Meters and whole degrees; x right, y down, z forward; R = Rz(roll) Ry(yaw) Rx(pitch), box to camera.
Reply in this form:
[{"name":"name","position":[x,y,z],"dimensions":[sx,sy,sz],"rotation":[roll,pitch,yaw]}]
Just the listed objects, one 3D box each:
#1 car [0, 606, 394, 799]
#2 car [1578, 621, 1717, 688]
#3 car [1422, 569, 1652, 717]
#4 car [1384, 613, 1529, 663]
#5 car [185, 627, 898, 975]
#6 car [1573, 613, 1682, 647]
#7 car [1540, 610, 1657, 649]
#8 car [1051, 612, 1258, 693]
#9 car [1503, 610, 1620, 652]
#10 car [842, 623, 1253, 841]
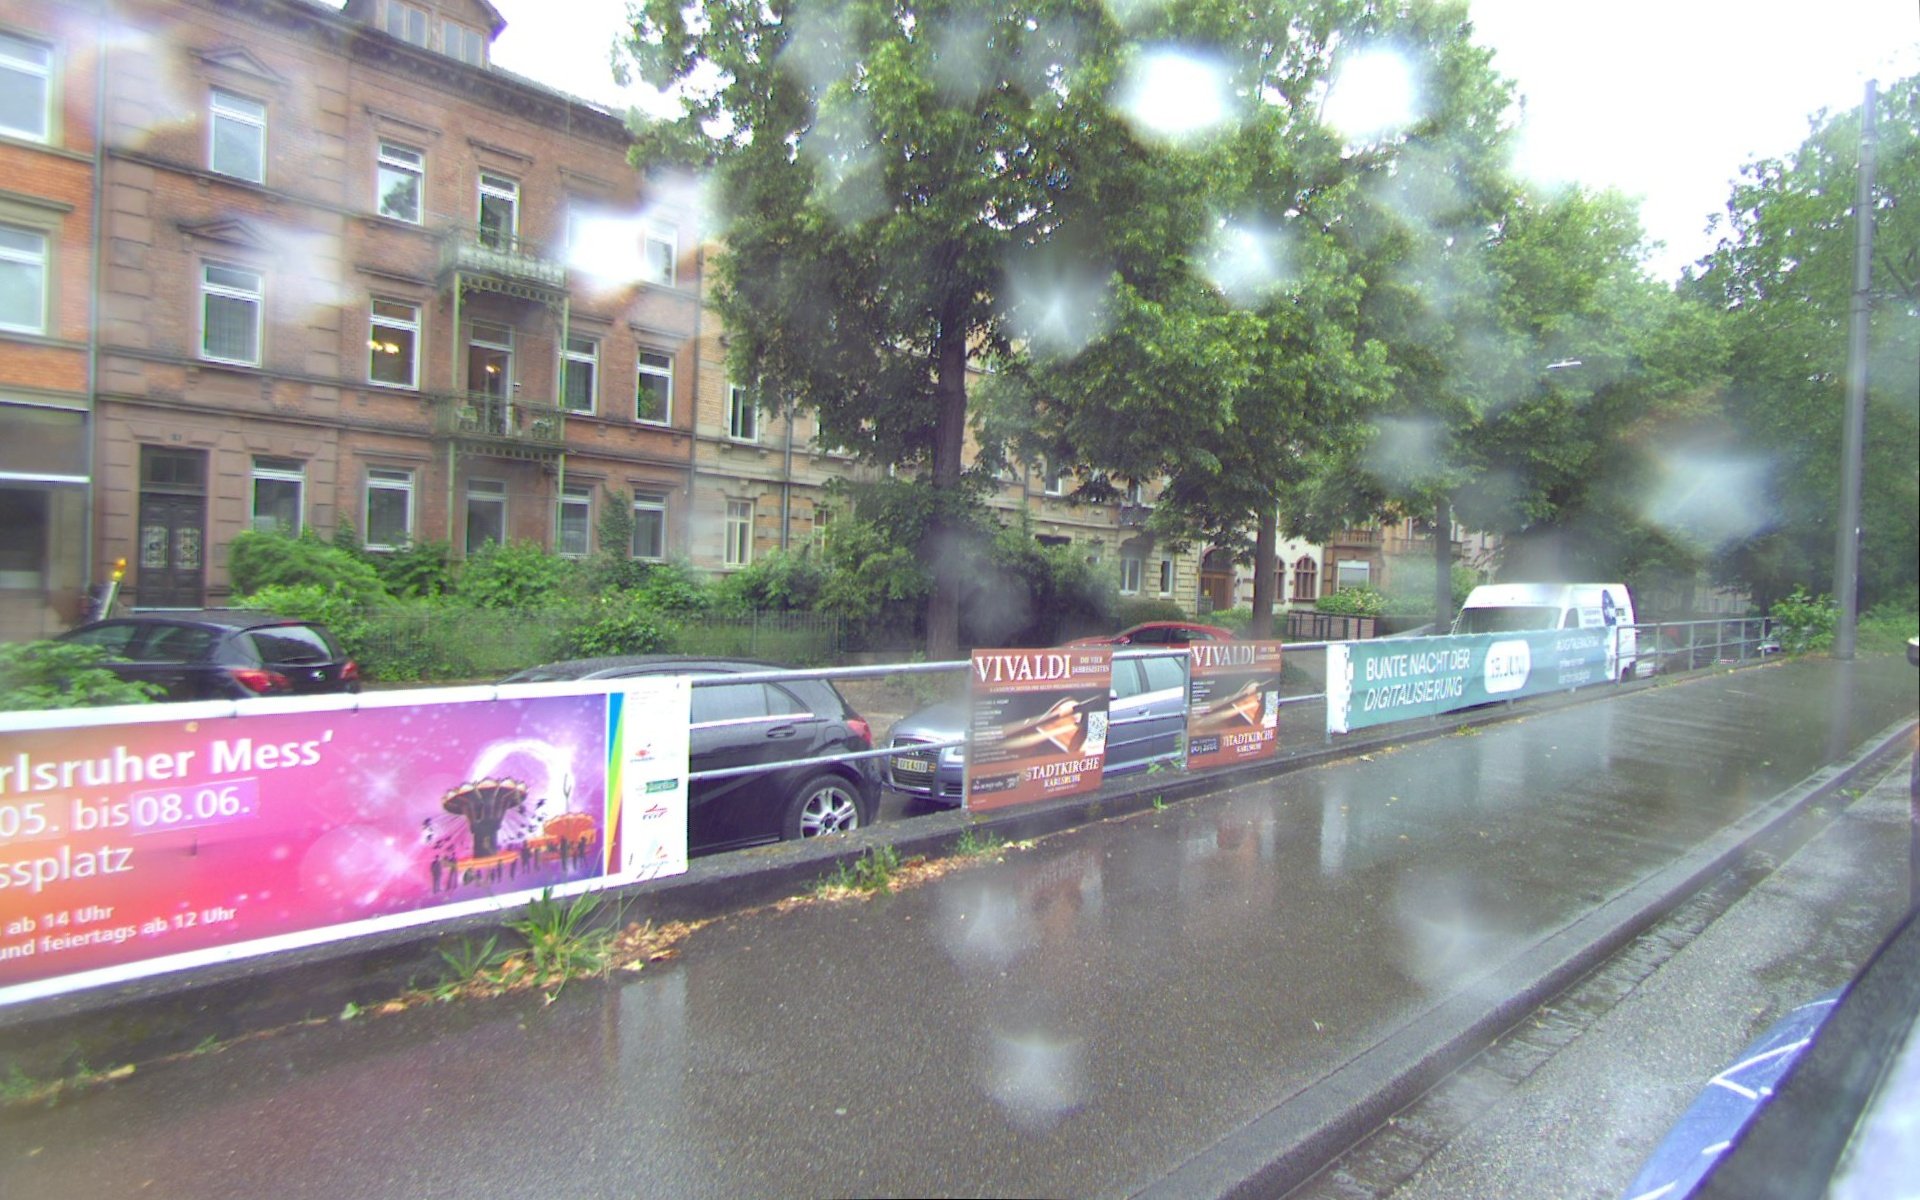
[{"name":"car","position":[-8.573,0.979,11.156],"dimensions":[3.949,1.735,1.988],"rotation":[1,1,20]},{"name":"car","position":[16.654,1.238,24.424],"dimensions":[4.312,1.370,1.968],"rotation":[0,0,-44]},{"name":"car","position":[11.359,0.698,19.671],"dimensions":[6.055,2.451,2.211],"rotation":[0,0,-43]},{"name":"car","position":[16.506,1.230,33.895],"dimensions":[4.214,1.397,1.679],"rotation":[2,2,22]},{"name":"car","position":[-2.462,0.956,6.488],"dimensions":[3.903,1.417,1.706],"rotation":[0,1,-41]},{"name":"car","position":[32.067,1.419,48.734],"dimensions":[3.942,1.482,1.904],"rotation":[0,1,15]},{"name":"car","position":[28.495,1.302,45.297],"dimensions":[3.942,1.585,1.991],"rotation":[0,1,15]},{"name":"car","position":[4.385,1.120,22.735],"dimensions":[4.372,1.471,1.888],"rotation":[2,1,18]},{"name":"car","position":[25.586,1.281,43.176],"dimensions":[3.948,1.629,1.815],"rotation":[1,1,19]},{"name":"car","position":[0.990,1.056,9.781],"dimensions":[4.006,1.559,1.734],"rotation":[0,0,-43]}]
